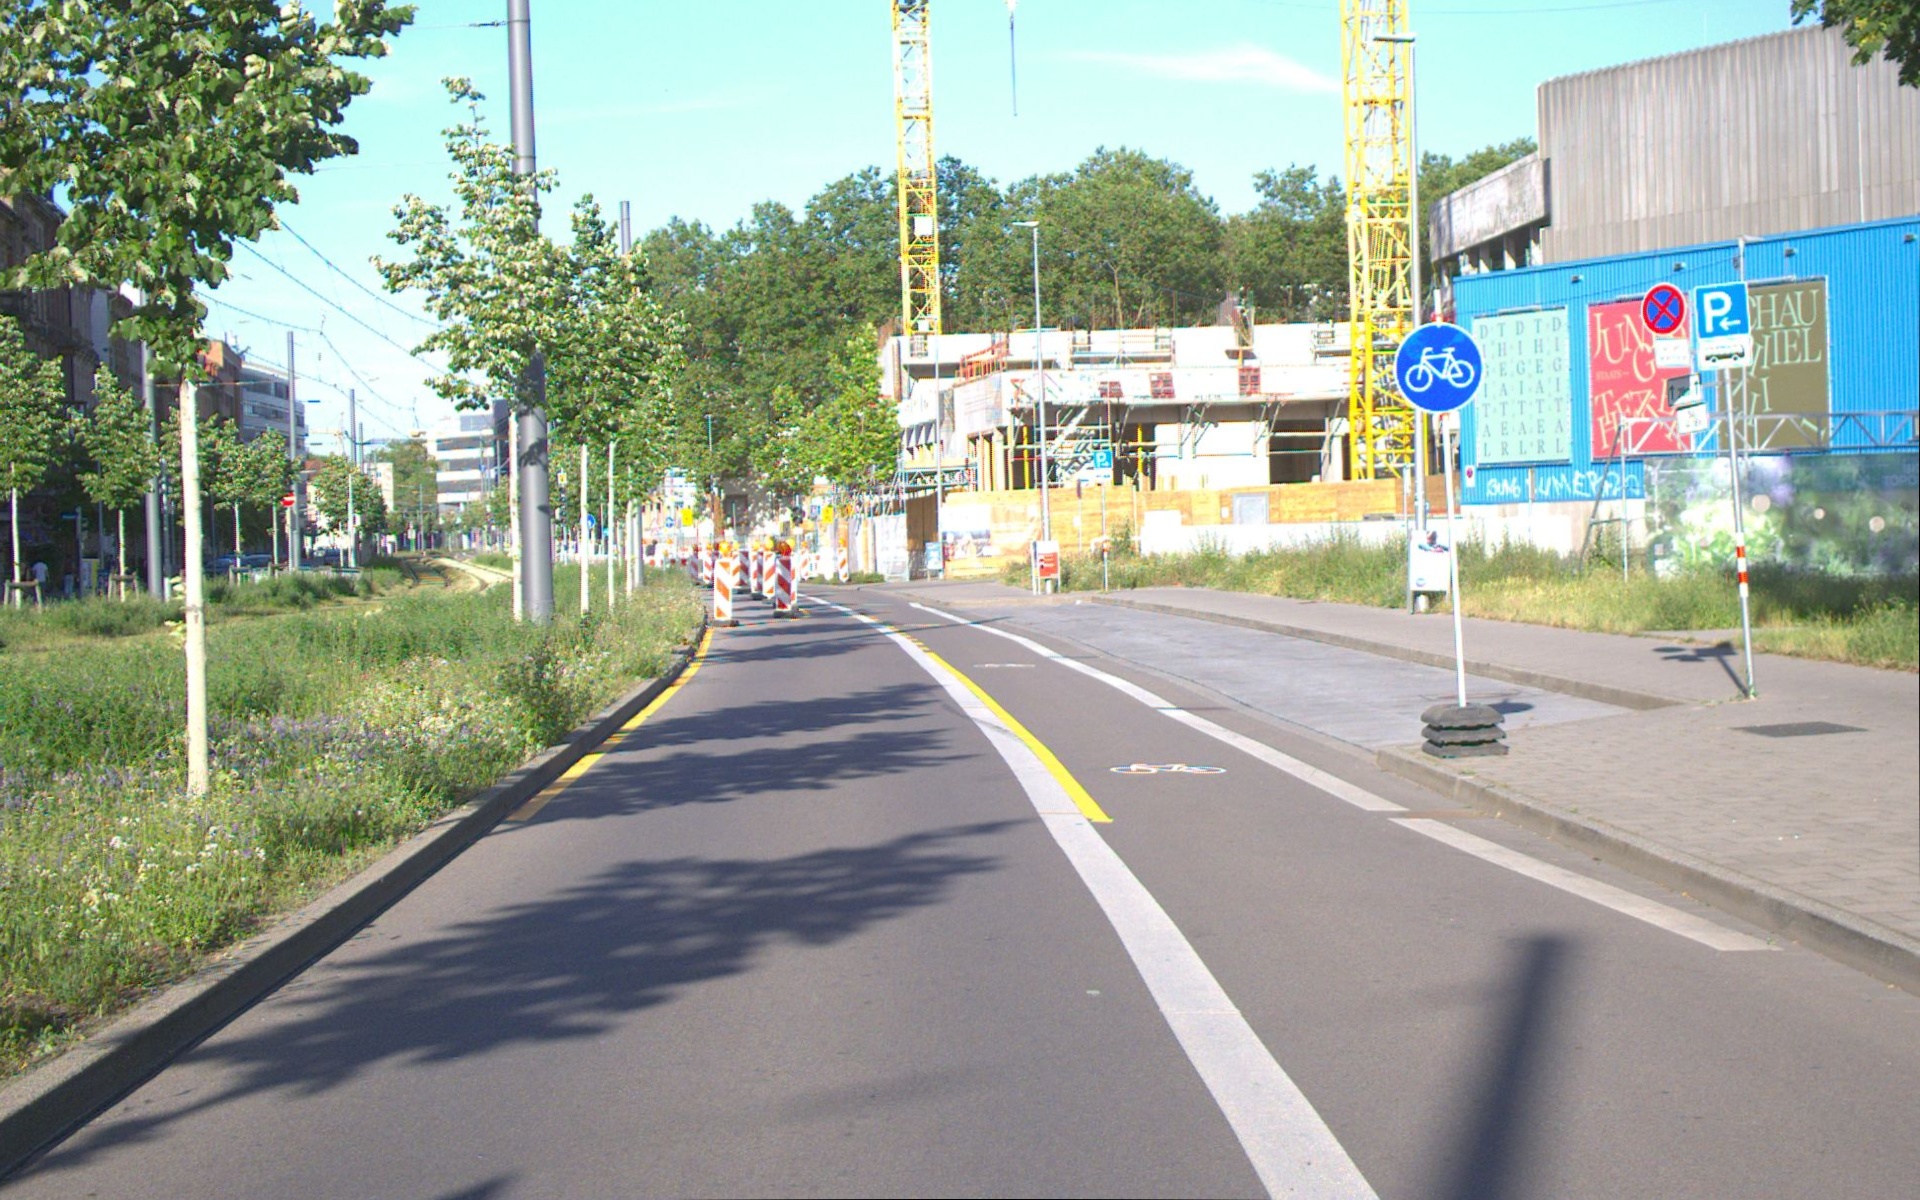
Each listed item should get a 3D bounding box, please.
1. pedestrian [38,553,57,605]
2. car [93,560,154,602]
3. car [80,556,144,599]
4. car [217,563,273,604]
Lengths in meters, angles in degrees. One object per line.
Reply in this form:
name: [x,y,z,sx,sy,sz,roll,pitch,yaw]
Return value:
pedestrian: [-34.315,-0.789,129.255,0.550,1.940,0.650,-2,1,-9]
car: [-33.339,-0.755,137.031,1.903,1.570,4.302,-2,1,-8]
car: [-32.591,-0.875,132.168,1.903,1.570,4.302,-2,1,-8]
car: [-29.104,-0.676,140.073,1.903,1.570,4.302,-2,1,-8]
